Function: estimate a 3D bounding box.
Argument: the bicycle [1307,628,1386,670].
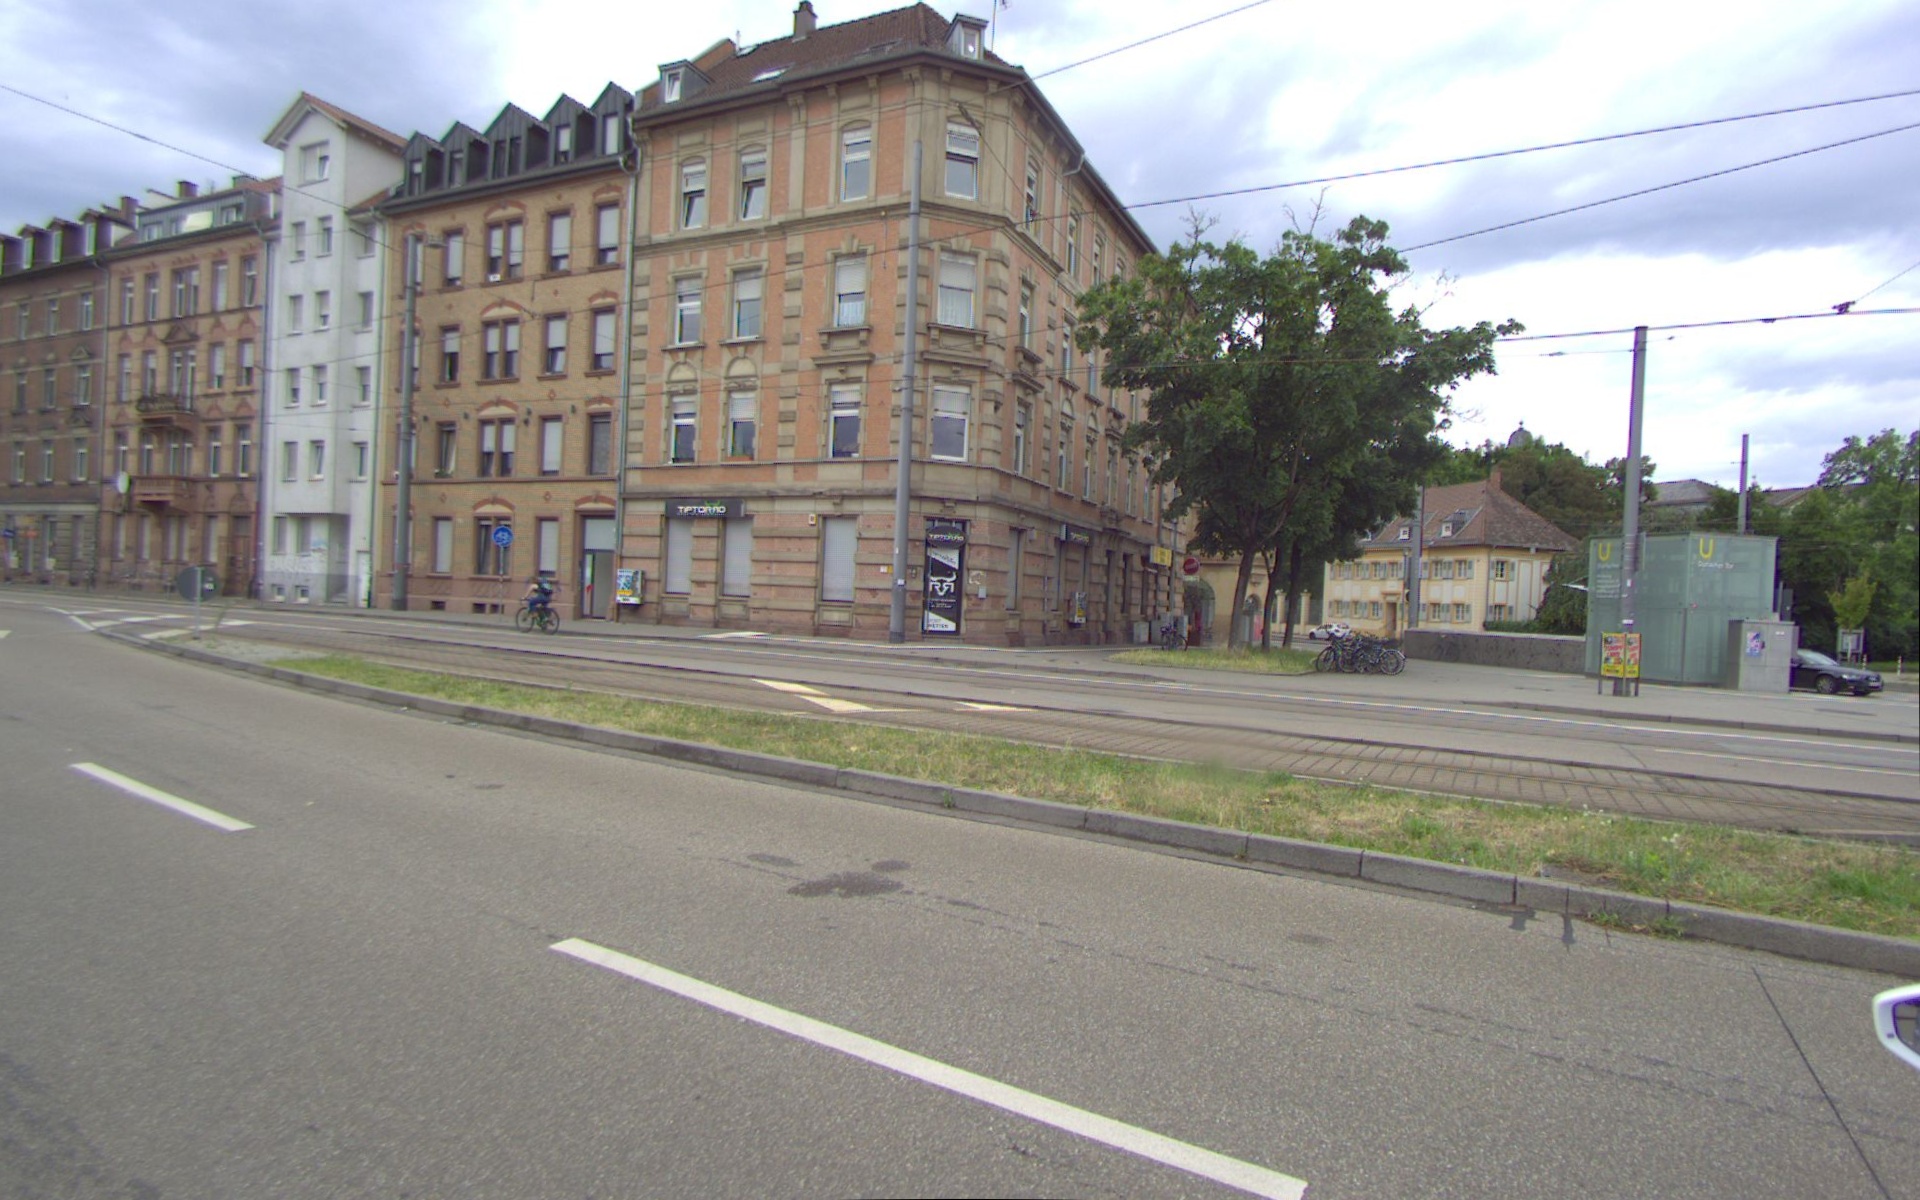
[{"bbox_3d":[10.214,1.282,26.584,1.838,1.000,0.498,3,1,35],"label":"bicycle"}]

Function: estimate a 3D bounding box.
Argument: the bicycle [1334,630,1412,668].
[{"bbox_3d":[13.153,1.534,32.035,2.185,1.052,0.686,3,1,37],"label":"bicycle"}]

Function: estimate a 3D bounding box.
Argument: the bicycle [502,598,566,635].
[{"bbox_3d":[-11.827,0.444,27.910,1.686,0.927,0.607,3,1,23],"label":"bicycle"}]

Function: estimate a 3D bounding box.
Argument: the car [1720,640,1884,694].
[{"bbox_3d":[28.296,2.211,33.936,1.666,1.468,4.137,3,1,-8],"label":"car"}]

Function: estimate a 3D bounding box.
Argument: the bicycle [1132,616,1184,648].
[{"bbox_3d":[6.523,1.043,33.240,0.653,0.927,1.978,2,1,-23],"label":"bicycle"}]

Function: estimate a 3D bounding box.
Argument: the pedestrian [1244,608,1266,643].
[{"bbox_3d":[15.047,1.284,51.219,0.832,1.745,0.950,3,1,30],"label":"pedestrian"}]

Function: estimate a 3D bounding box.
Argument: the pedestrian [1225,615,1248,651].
[{"bbox_3d":[13.882,1.654,50.480,0.832,1.745,0.950,3,1,30],"label":"pedestrian"}]

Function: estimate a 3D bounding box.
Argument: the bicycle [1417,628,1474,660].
[{"bbox_3d":[19.146,1.715,39.638,0.727,1.130,2.358,2,0,-10],"label":"bicycle"}]

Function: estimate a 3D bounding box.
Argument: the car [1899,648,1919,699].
[{"bbox_3d":[29.366,2.245,28.219,1.730,1.473,4.153,2,0,-9],"label":"car"}]

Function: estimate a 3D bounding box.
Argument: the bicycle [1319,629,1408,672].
[{"bbox_3d":[11.071,1.373,27.589,2.185,1.019,0.478,3,1,37],"label":"bicycle"}]

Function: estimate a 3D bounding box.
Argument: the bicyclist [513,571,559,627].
[{"bbox_3d":[-11.775,-0.025,27.886,0.924,1.514,0.663,3,1,23],"label":"bicyclist"}]

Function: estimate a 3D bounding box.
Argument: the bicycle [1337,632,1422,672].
[{"bbox_3d":[12.200,1.495,29.261,2.185,1.000,0.608,3,1,37],"label":"bicycle"}]

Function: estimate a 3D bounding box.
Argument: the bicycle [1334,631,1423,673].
[{"bbox_3d":[11.686,1.434,28.096,2.185,1.000,0.498,3,1,37],"label":"bicycle"}]

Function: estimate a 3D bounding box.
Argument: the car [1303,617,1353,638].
[{"bbox_3d":[30.076,2.235,82.292,1.669,1.468,4.173,2,1,-16],"label":"car"}]

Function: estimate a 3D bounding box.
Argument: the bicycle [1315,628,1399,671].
[{"bbox_3d":[10.711,1.317,27.156,2.005,1.000,0.520,3,1,37],"label":"bicycle"}]

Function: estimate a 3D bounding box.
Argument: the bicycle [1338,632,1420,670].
[{"bbox_3d":[12.825,1.540,30.790,2.185,1.000,0.583,3,1,37],"label":"bicycle"}]
